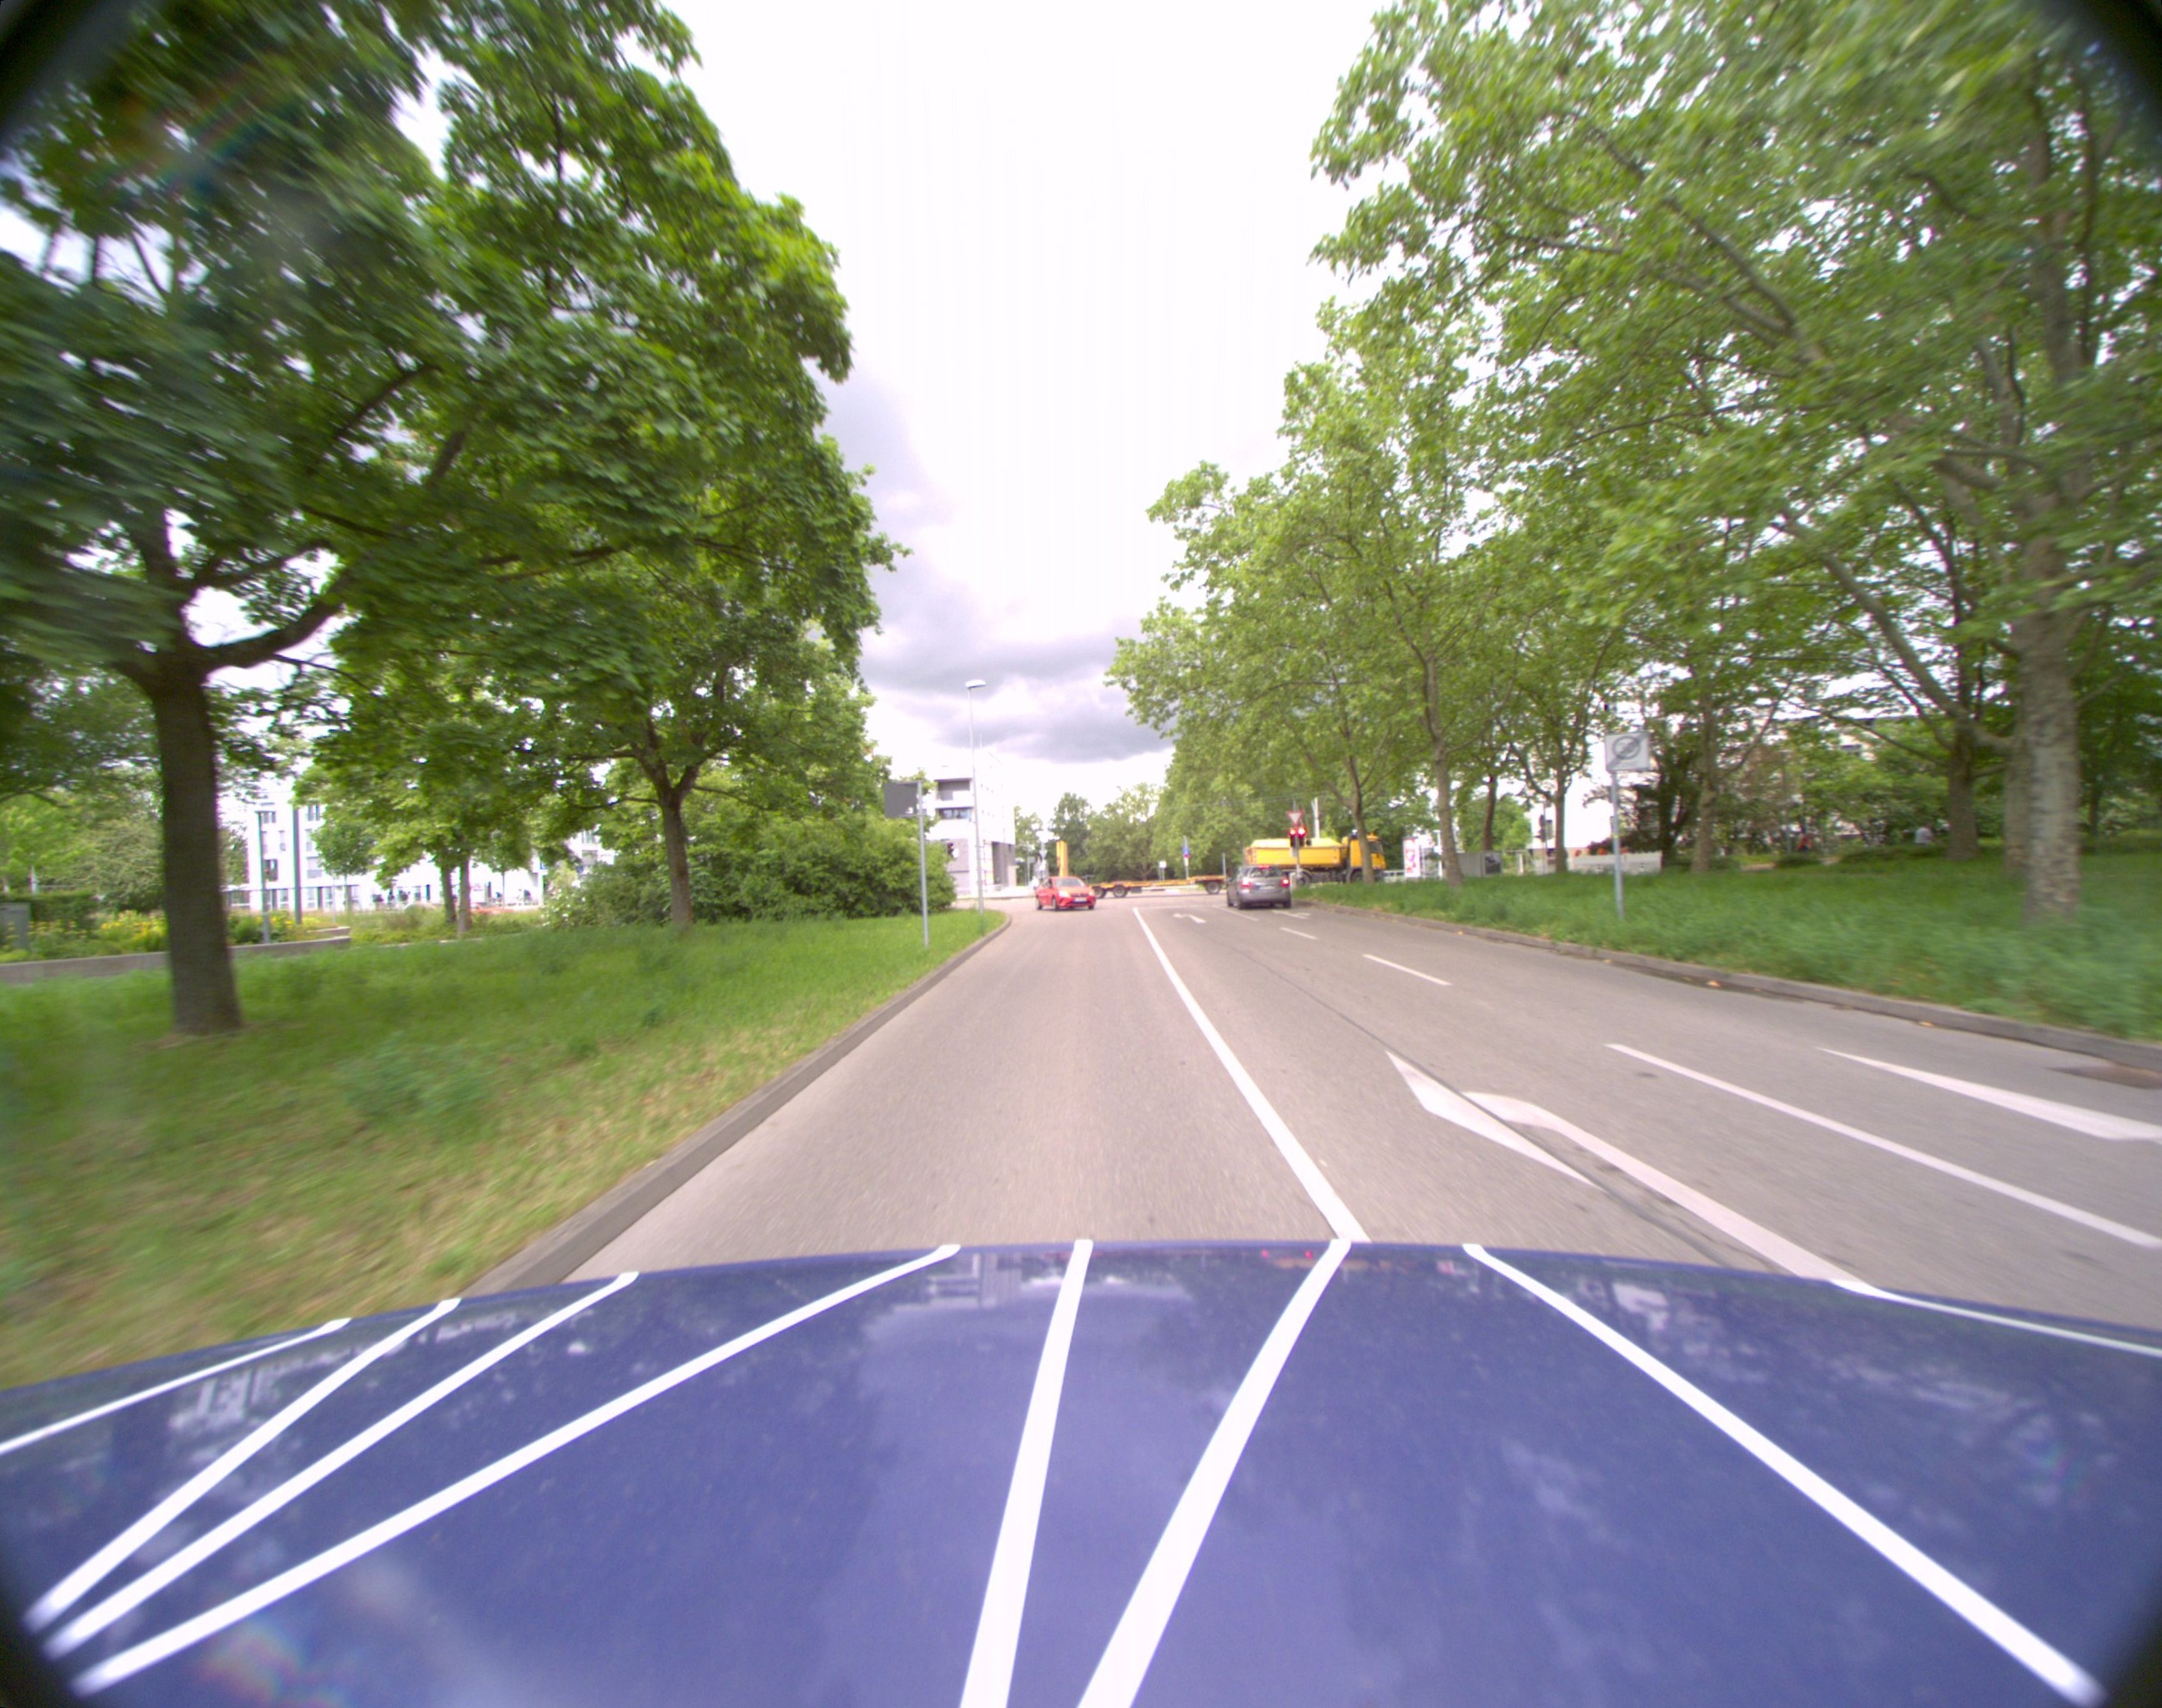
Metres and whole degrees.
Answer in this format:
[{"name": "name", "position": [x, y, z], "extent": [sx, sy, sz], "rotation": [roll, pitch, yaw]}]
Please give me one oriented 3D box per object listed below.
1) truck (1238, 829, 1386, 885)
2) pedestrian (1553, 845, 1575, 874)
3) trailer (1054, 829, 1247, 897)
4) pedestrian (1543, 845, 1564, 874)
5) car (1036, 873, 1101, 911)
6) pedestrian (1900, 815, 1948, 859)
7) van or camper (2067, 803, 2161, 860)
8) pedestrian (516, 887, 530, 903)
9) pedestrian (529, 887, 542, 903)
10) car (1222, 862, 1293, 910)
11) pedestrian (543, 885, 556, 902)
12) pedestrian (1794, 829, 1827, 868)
[{"name": "truck", "position": [13.318, 0.209, 44.322], "extent": [7.770, 2.985, 2.730], "rotation": [-2, -1, 5]}, {"name": "pedestrian", "position": [25.630, 0.295, 40.313], "extent": [0.698, 1.480, 0.721], "rotation": [-2, -1, 8]}, {"name": "trailer", "position": [4.065, 0.564, 45.106], "extent": [10.902, 3.500, 2.717], "rotation": [-2, -1, 5]}, {"name": "pedestrian", "position": [24.777, 0.314, 39.851], "extent": [0.698, 1.480, 0.688], "rotation": [-2, -1, 7]}, {"name": "car", "position": [-0.606, 1.588, 32.310], "extent": [1.695, 1.470, 3.995], "rotation": [-1, -1, -17]}, {"name": "pedestrian", "position": [31.537, -0.630, 28.434], "extent": [0.850, 1.576, 0.796], "rotation": [-2, -1, -1]}, {"name": "van or camper", "position": [34.375, -0.726, 24.702], "extent": [4.004, 1.673, 1.843], "rotation": [-2, -2, -24]}, {"name": "pedestrian", "position": [-50.001, 3.685, 68.078], "extent": [0.670, 1.401, 0.716], "rotation": [-3, -2, -2]}, {"name": "pedestrian", "position": [-49.276, 3.685, 68.652], "extent": [0.670, 1.401, 0.716], "rotation": [-3, -2, 3]}, {"name": "car", "position": [6.351, 1.127, 27.773], "extent": [1.771, 1.576, 4.414], "rotation": [-2, -1, 3]}, {"name": "pedestrian", "position": [-48.553, 3.609, 69.396], "extent": [0.670, 1.509, 0.716], "rotation": [-3, -2, 3]}, {"name": "pedestrian", "position": [29.443, -0.212, 30.680], "extent": [0.656, 1.529, 0.771], "rotation": [-1, -1, -32]}]
